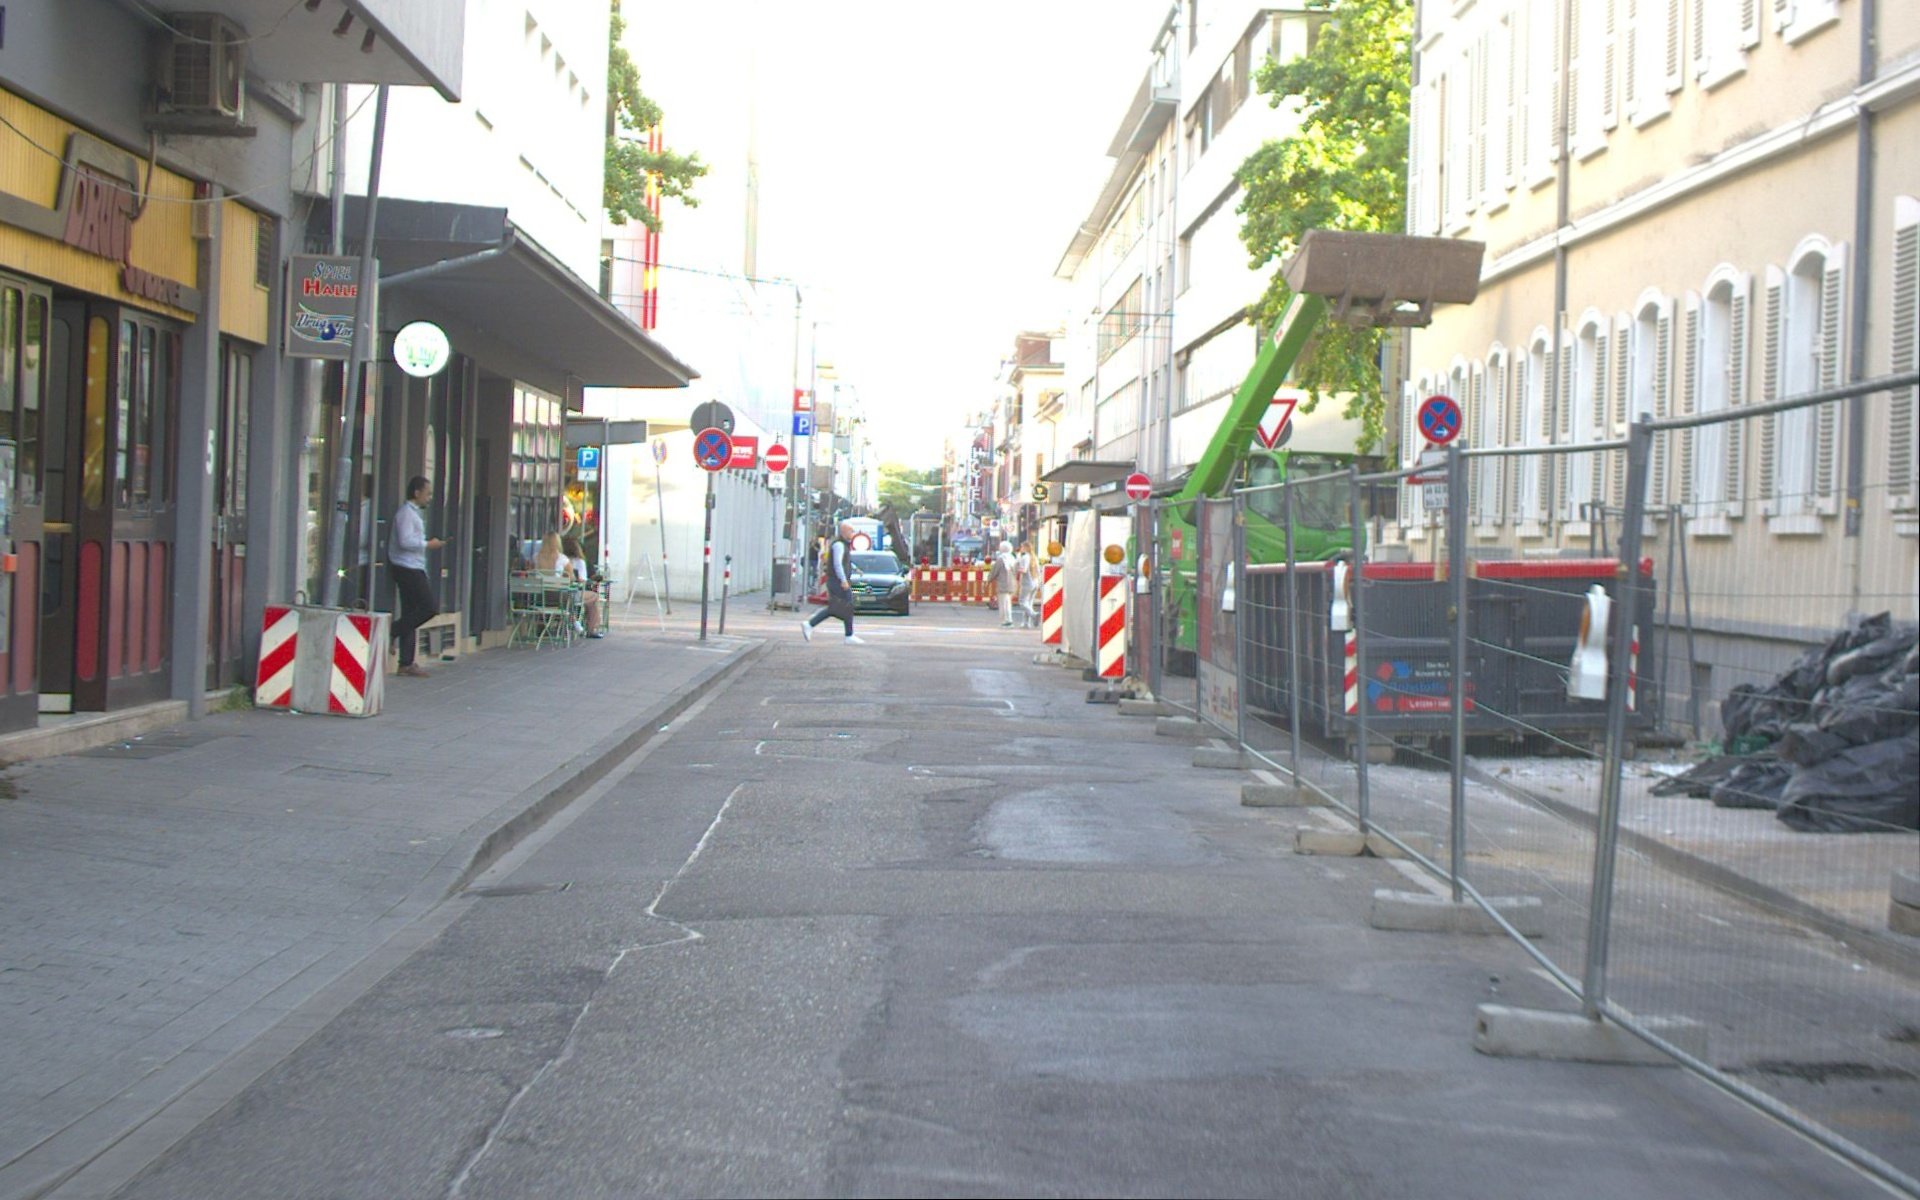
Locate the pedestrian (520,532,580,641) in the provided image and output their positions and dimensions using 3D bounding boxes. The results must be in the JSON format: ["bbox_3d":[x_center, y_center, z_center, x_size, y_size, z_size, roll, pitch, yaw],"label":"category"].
[{"bbox_3d":[-4.946,-0.170,41.491,0.573,1.271,0.714,4,1,-1],"label":"pedestrian"}]

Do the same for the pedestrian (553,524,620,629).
[{"bbox_3d":[-4.734,-0.302,43.566,0.702,1.271,0.714,4,1,-1],"label":"pedestrian"}]

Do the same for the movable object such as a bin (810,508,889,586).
[{"bbox_3d":[-2.952,-1.442,92.761,1.993,2.007,4.000,1,1,0],"label":"movable object such as a bin"}]

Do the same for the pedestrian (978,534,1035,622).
[{"bbox_3d":[0.876,-0.419,64.560,0.610,1.622,0.873,0,1,-41],"label":"pedestrian"}]

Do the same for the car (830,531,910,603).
[{"bbox_3d":[-2.044,-0.766,77.568,1.629,1.545,3.143,1,1,-4],"label":"car"}]

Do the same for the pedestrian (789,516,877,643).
[{"bbox_3d":[-1.860,-0.304,50.164,1.071,1.828,0.698,1,1,-21],"label":"pedestrian"}]

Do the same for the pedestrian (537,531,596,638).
[{"bbox_3d":[-4.869,-0.194,42.554,0.573,1.271,0.714,4,1,-1],"label":"pedestrian"}]

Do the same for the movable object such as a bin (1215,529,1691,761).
[{"bbox_3d":[4.007,0.274,29.766,2.735,1.633,7.553,3,1,-2],"label":"movable object such as a bin"}]

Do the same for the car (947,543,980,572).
[{"bbox_3d":[0.235,-2.688,217.007,1.993,1.770,4.000,1,1,-1],"label":"car"}]

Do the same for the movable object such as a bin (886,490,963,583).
[{"bbox_3d":[-1.081,-1.902,103.024,2.156,2.654,4.573,2,1,-1],"label":"movable object such as a bin"}]

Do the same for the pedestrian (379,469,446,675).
[{"bbox_3d":[-4.947,-0.258,31.071,0.530,1.828,0.563,2,1,-7],"label":"pedestrian"}]

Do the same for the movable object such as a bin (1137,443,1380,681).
[{"bbox_3d":[3.722,-0.498,43.817,2.605,2.829,4.450,1,1,-1],"label":"movable object such as a bin"}]

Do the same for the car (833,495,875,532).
[{"bbox_3d":[-5.295,-4.318,172.565,1.993,1.770,4.000,1,1,-1],"label":"car"}]

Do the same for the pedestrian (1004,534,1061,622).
[{"bbox_3d":[1.366,-0.417,64.969,0.610,1.622,0.873,0,1,-41],"label":"pedestrian"}]
